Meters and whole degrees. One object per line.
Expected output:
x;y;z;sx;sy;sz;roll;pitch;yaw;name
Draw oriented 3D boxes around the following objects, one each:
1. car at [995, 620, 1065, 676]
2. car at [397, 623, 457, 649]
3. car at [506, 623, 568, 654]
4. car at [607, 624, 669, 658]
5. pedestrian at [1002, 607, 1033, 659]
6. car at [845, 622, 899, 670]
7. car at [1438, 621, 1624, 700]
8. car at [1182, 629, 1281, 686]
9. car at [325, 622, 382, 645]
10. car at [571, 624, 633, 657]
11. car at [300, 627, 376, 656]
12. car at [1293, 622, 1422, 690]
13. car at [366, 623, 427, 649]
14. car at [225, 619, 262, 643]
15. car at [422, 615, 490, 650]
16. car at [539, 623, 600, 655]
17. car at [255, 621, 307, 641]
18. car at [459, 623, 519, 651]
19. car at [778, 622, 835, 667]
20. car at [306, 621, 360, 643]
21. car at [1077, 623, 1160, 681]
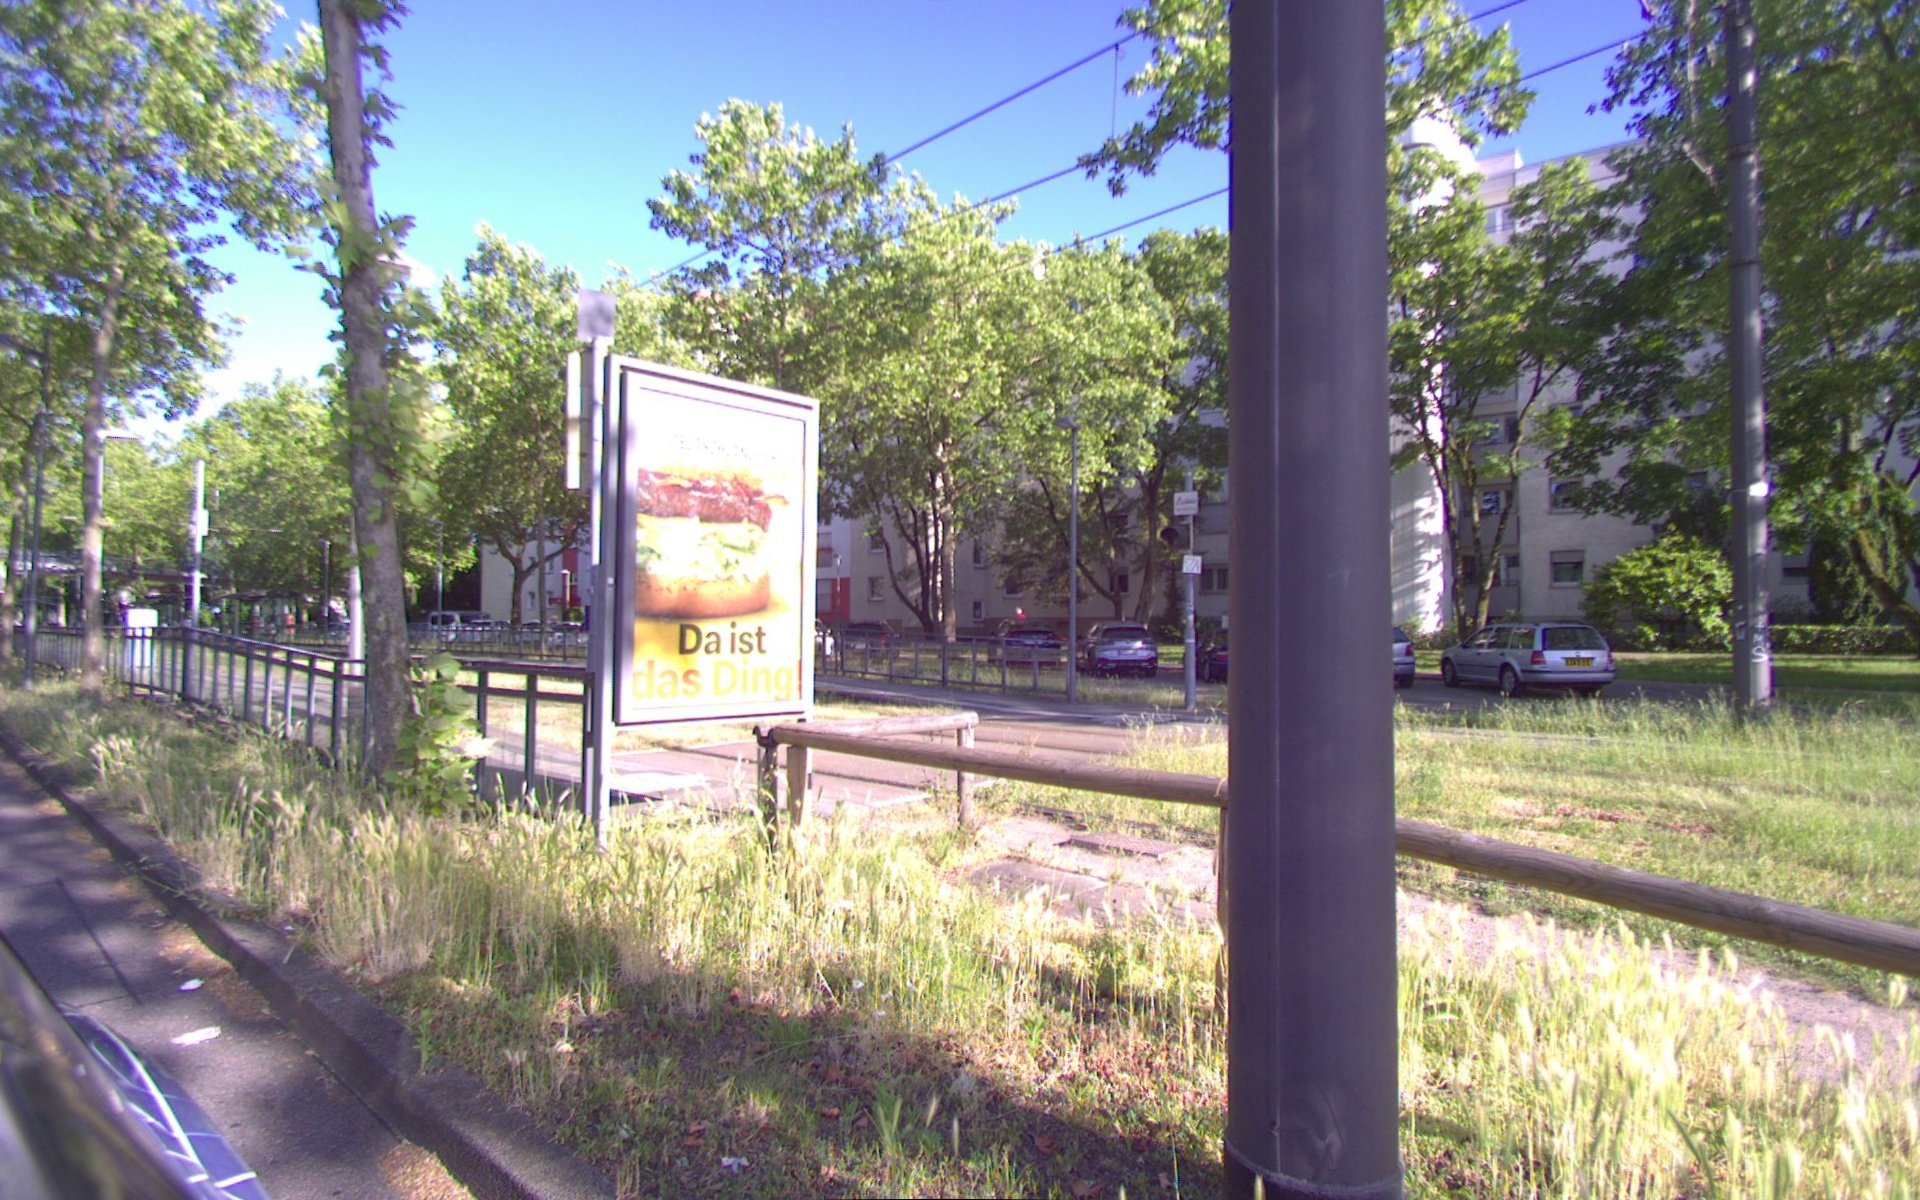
1.990;1.355;29.667;1.633;1.522;3.805;-1;-1;-2;car
-31.323;2.082;59.602;1.633;1.452;3.805;-1;-1;-2;car
-21.329;1.939;51.185;1.633;1.452;3.805;-1;-1;-2;car
-14.055;1.765;44.338;1.633;1.366;3.805;-1;-1;-2;car
2.002;1.128;35.091;0.786;1.745;0.755;-1;0;39;pedestrian
-2.969;1.527;34.650;1.633;1.522;3.805;-1;-1;-2;car
11.480;1.162;20.665;1.559;1.413;3.906;-1;-1;0;car
6.681;1.378;25.277;1.445;1.234;3.815;-1;-1;0;car
-40.829;2.225;68.195;1.633;1.452;3.805;-1;-1;-2;car
-16.618;1.854;47.161;1.633;1.452;3.805;-1;-1;-2;car
-33.537;2.215;54.542;4.627;1.522;1.639;-1;-1;32;car
9.149;1.239;23.591;1.559;1.413;3.638;-1;-1;0;car
-33.685;2.113;60.605;1.633;1.452;3.805;-1;-1;-2;car
-49.552;2.149;69.965;2.817;1.569;1.558;-2;-1;44;car
-28.444;1.823;57.257;1.814;1.888;4.323;-1;-1;-2;car
-19.037;1.896;49.542;1.633;1.452;3.805;-1;-1;-2;car
-53.040;2.400;79.157;1.633;1.452;3.805;-1;-1;-2;car
-25.862;1.998;55.662;1.633;1.452;3.805;-1;-1;-2;car
-5.558;1.569;37.019;1.633;1.522;3.805;-1;-1;-2;car
-44.970;2.286;72.684;1.633;1.452;3.805;-1;-1;-2;car
4.224;1.365;27.519;1.633;1.413;3.803;-1;-1;0;car
